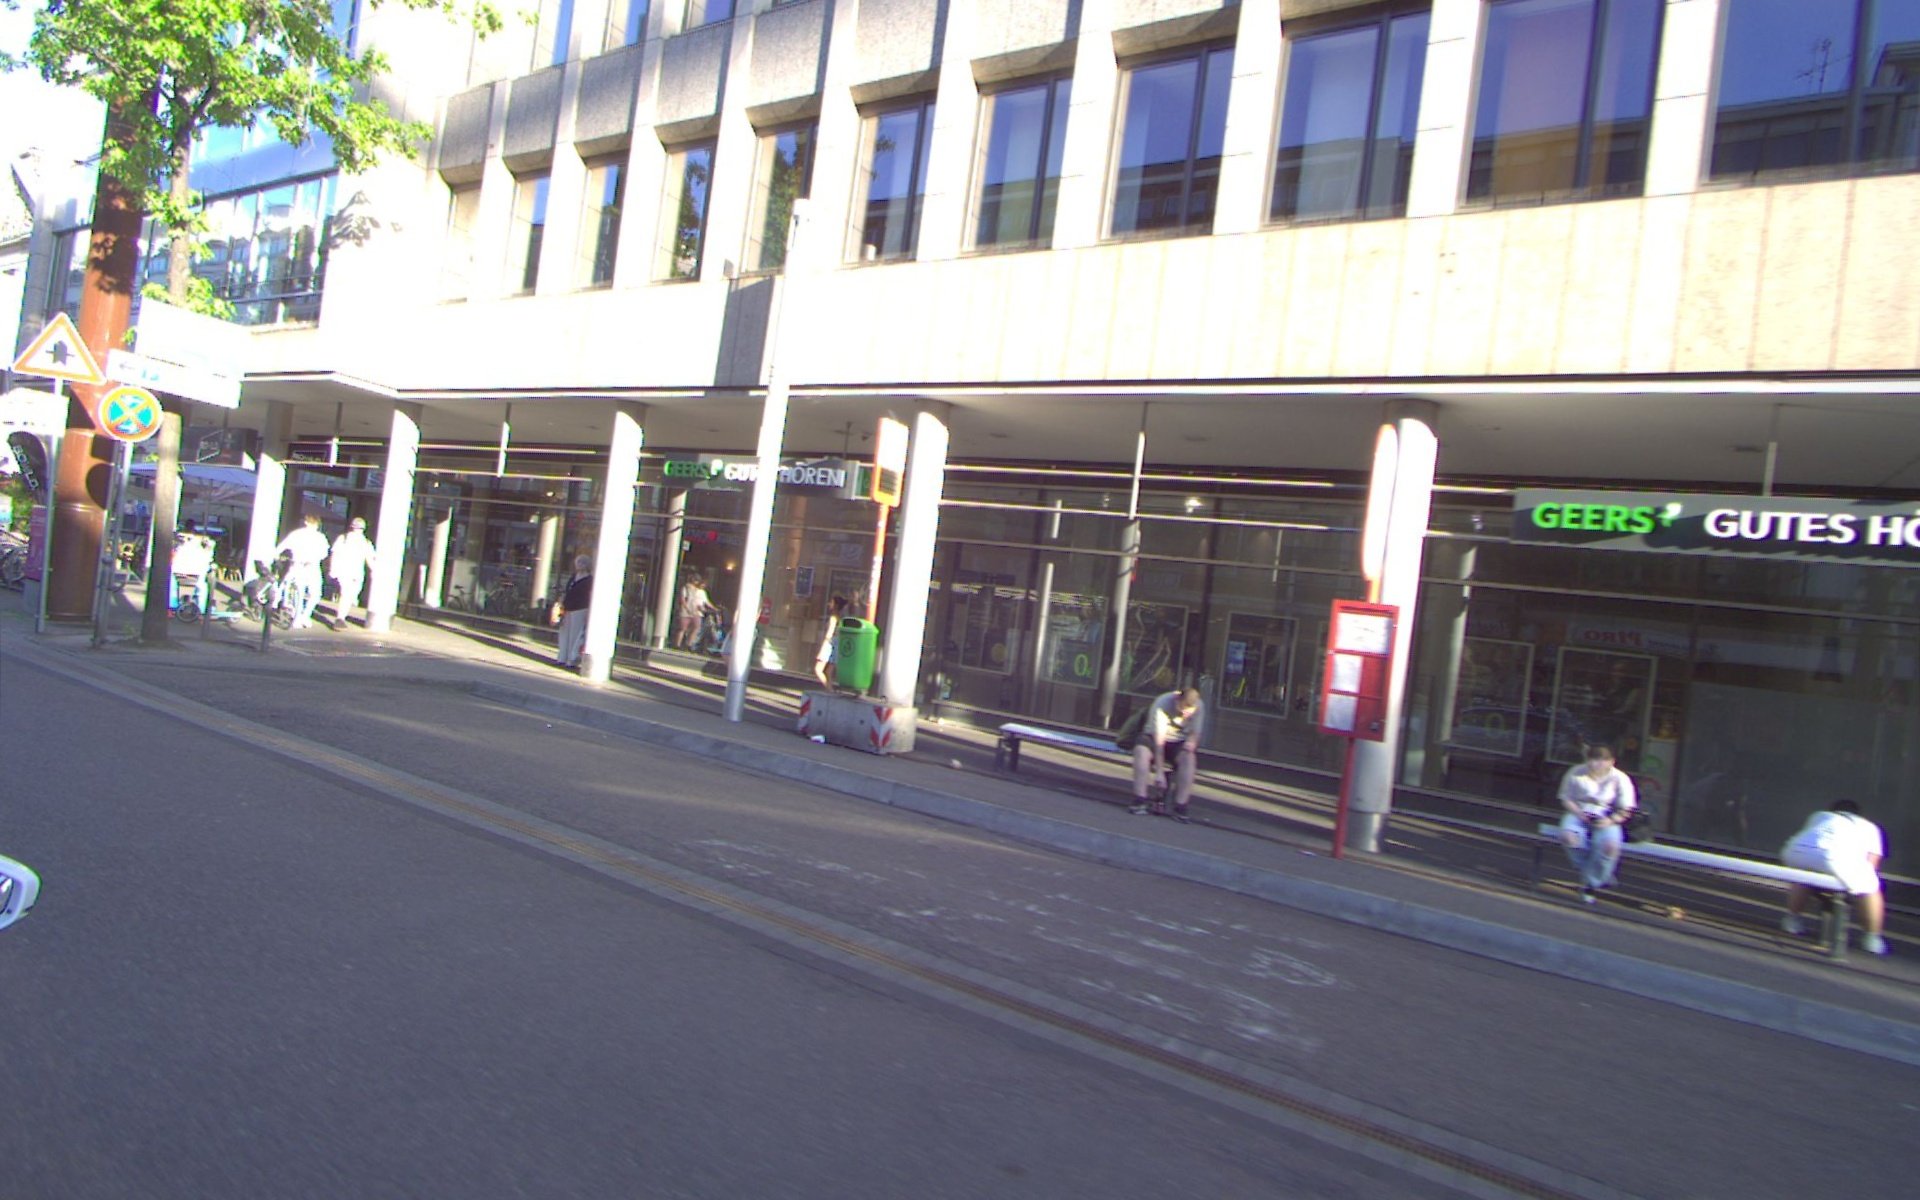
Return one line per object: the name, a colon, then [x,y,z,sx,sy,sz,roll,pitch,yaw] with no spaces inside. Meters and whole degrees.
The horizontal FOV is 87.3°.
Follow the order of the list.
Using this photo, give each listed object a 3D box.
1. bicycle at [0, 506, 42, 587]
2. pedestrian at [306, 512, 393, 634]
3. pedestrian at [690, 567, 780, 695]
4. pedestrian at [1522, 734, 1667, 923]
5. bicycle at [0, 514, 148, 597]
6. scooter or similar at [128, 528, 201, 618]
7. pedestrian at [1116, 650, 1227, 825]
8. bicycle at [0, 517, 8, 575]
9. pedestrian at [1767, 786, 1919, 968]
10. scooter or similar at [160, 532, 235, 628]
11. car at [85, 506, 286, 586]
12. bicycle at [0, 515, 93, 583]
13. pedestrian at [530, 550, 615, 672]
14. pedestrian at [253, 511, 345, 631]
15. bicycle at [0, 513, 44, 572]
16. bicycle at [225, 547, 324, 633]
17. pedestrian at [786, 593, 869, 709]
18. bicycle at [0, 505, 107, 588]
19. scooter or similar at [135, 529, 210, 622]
bicycle: [-16.194,-0.941,16.231,0.598,1.297,1.914,7,0,20]
pedestrian: [-9.834,-0.434,16.210,1.016,1.836,0.701,7,3,31]
pedestrian: [-3.334,0.460,14.921,0.821,1.761,0.717,7,-1,31]
pedestrian: [4.830,1.692,7.654,0.772,1.212,0.667,7,-1,36]
bicycle: [-14.912,-0.720,16.855,0.598,1.171,1.914,7,0,20]
scooter or similar: [-12.212,-0.409,15.451,0.648,1.293,0.529,7,1,20]
pedestrian: [1.884,1.204,9.088,0.763,1.393,0.837,8,-1,9]
bicycle: [-18.541,-1.100,17.950,0.598,1.108,2.122,7,-2,20]
pedestrian: [6.358,1.948,7.256,0.685,1.043,0.837,7,-1,36]
scooter or similar: [-11.025,-0.283,14.552,0.648,1.293,0.492,7,1,20]
car: [-20.421,-1.375,26.695,1.620,1.490,3.813,7,-2,26]
bicycle: [-17.475,-0.974,18.586,0.598,1.109,2.122,7,-1,18]
pedestrian: [-5.680,0.163,14.762,0.768,1.672,0.638,7,-1,32]
pedestrian: [-10.350,-0.440,15.761,0.678,1.768,0.900,7,3,30]
bicycle: [-19.424,-1.220,19.679,0.598,1.109,2.121,7,-1,20]
bicycle: [-10.757,-0.169,15.760,1.898,1.142,0.565,7,1,35]
pedestrian: [-1.934,0.748,14.688,0.783,1.560,0.644,7,-1,31]
bicycle: [-16.349,-0.948,17.706,0.598,1.297,1.914,7,0,20]
scooter or similar: [-11.692,-0.359,14.940,0.648,1.293,0.529,7,1,20]
